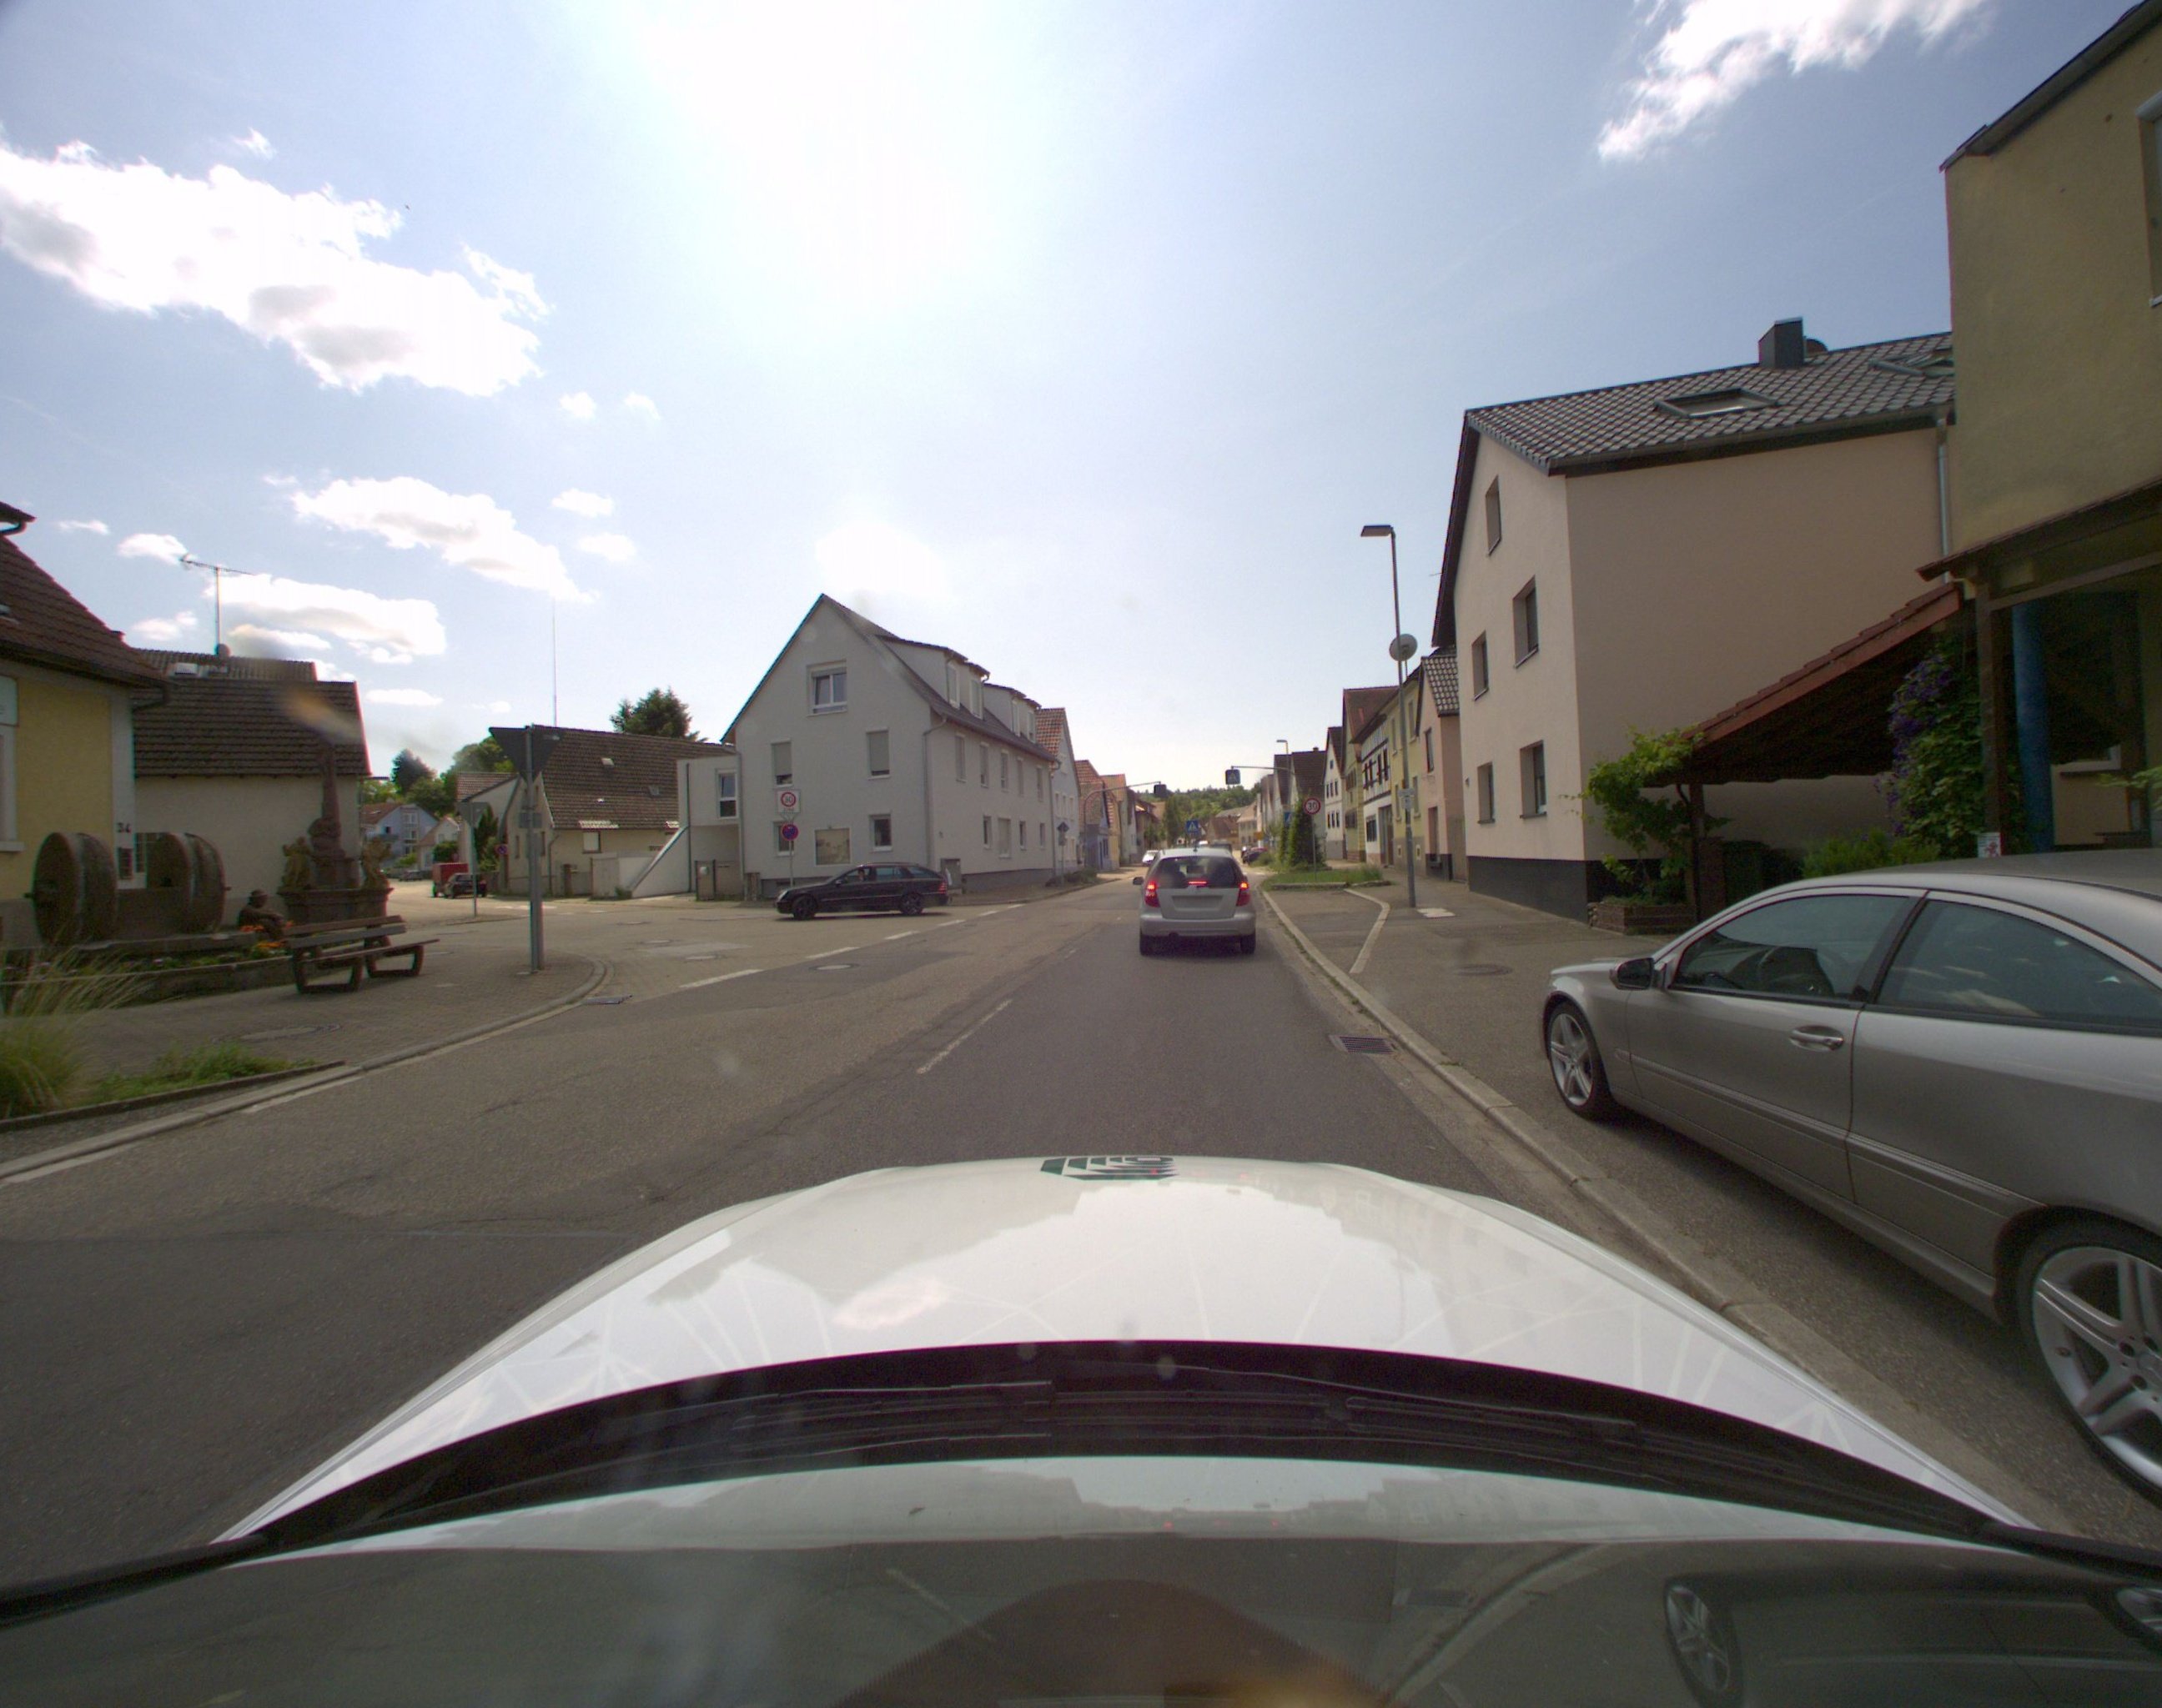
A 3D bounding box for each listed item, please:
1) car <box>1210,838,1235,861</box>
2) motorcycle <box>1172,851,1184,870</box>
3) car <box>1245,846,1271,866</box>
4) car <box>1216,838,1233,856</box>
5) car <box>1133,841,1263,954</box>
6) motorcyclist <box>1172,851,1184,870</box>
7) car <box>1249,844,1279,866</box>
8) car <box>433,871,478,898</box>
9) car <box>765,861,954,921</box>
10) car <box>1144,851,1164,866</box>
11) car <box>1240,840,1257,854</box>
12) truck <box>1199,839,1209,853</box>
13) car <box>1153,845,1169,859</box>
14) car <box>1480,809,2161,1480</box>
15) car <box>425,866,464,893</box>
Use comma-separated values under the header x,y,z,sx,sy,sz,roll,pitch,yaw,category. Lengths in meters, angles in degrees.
x,y,z,sx,sy,sz,roll,pitch,yaw,category
12.178,-0.322,70.398,1.982,1.816,4.009,-1,-2,8,car
8.264,0.578,69.524,0.875,1.561,1.972,-2,0,9,motorcycle
14.983,0.186,69.072,1.981,1.508,4.010,-2,-2,9,car
17.615,-0.857,100.378,1.982,2.014,4.010,-1,-2,9,car
1.812,0.640,13.656,1.803,1.643,3.731,0,0,2,car
8.266,0.526,69.476,0.891,1.554,0.809,-2,0,9,motorcyclist
13.930,0.094,62.060,1.981,1.508,4.010,-2,-2,9,car
-36.488,1.783,47.478,3.432,1.530,1.500,-3,-2,43,car
-5.818,0.949,21.659,4.631,1.412,1.804,-1,-2,-16,car
7.246,0.450,81.204,1.984,1.321,3.712,-1,-2,4,car
23.018,-0.921,112.129,1.982,1.816,4.009,-1,-2,8,car
24.847,-1.505,164.181,1.982,2.537,6.755,-1,-2,9,truck
9.792,-0.192,99.692,1.657,1.596,4.010,-2,-2,9,car
3.282,0.594,3.012,1.761,1.400,4.432,-5,-2,6,car
-40.325,1.604,51.545,3.432,1.635,1.406,-3,-3,43,car
